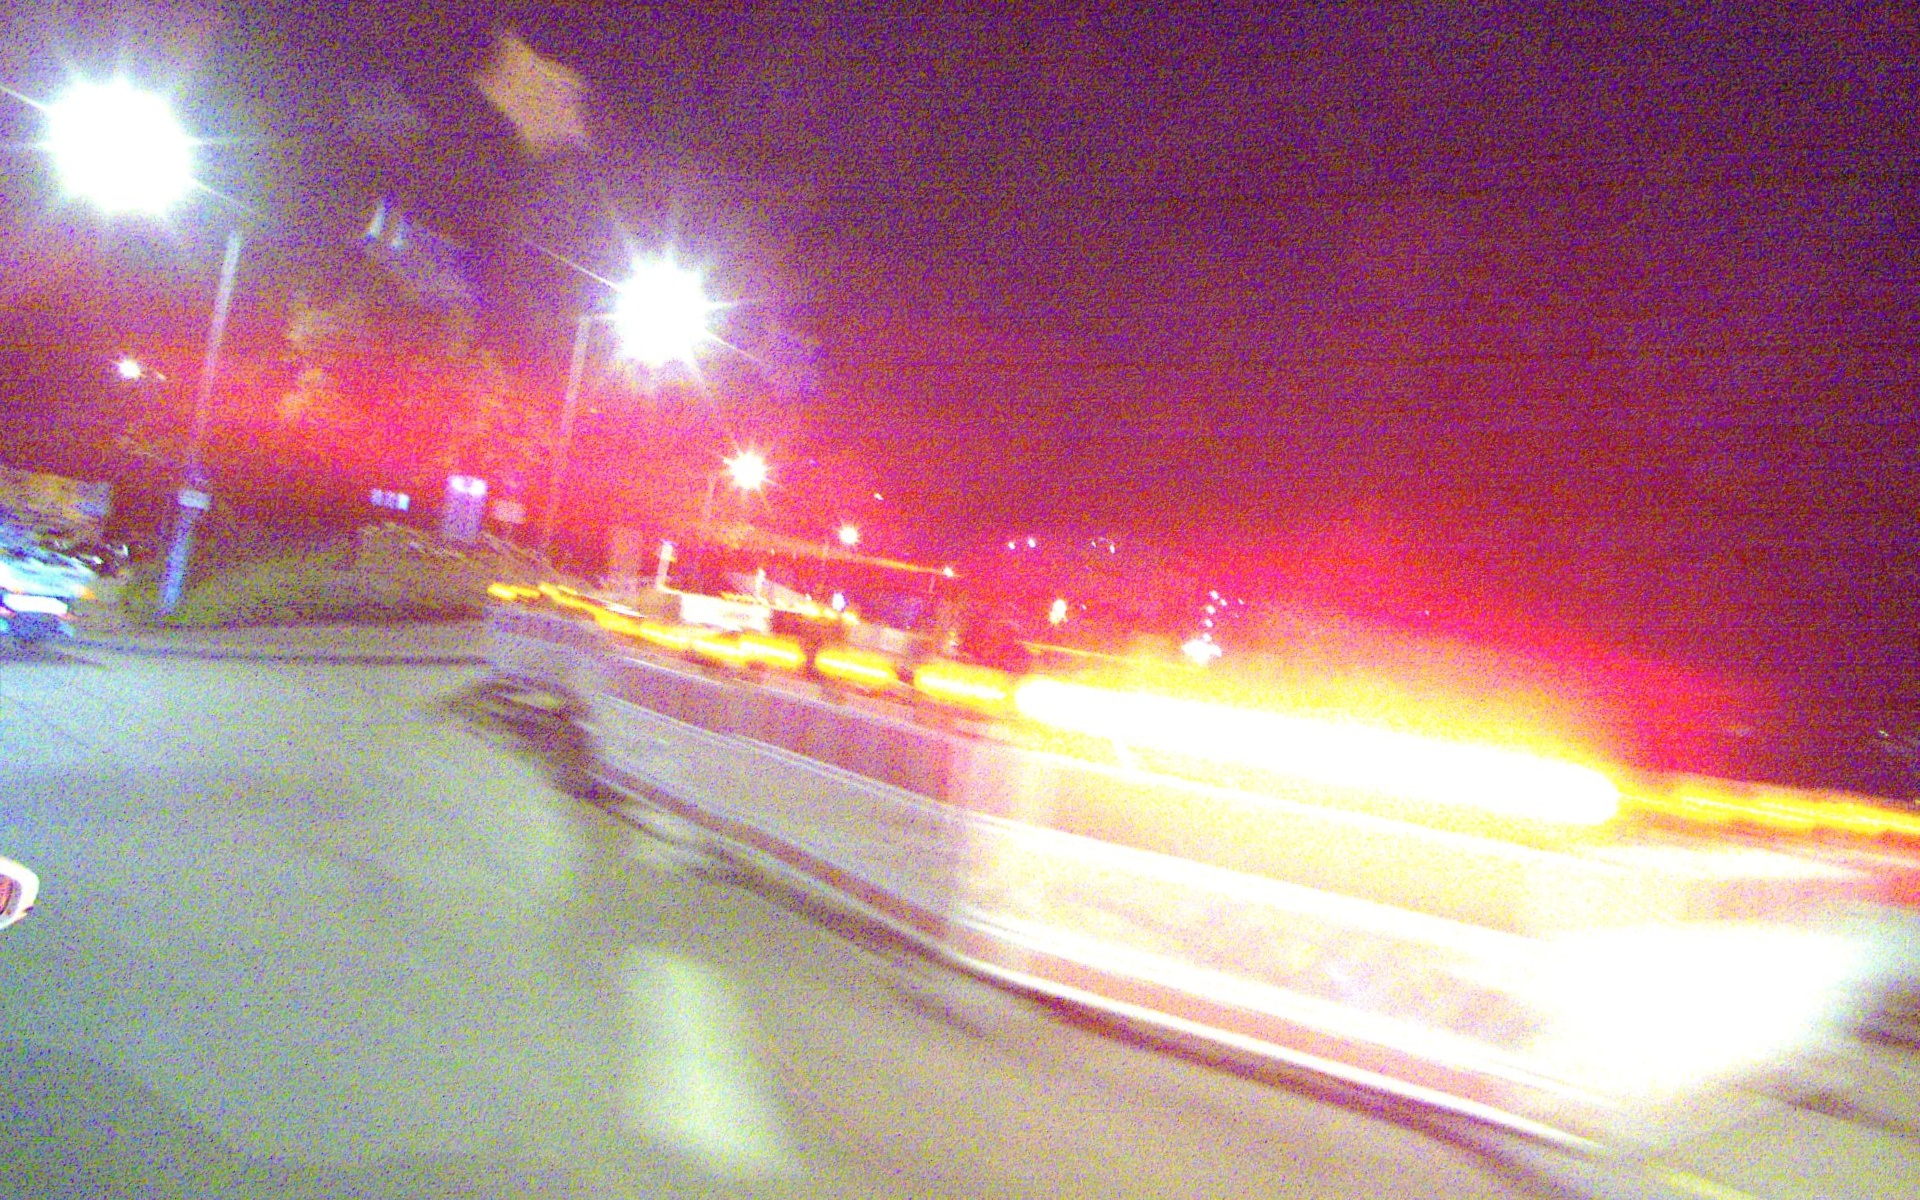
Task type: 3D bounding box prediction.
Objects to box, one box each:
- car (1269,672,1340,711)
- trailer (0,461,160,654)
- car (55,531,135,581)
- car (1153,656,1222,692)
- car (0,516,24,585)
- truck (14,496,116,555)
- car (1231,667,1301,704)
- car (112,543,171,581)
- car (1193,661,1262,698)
[{"bbox_3d":[17.721,4.713,51.672,1.972,1.436,3.985,7,-3,42],"label":"car"},{"bbox_3d":[-13.253,-0.721,13.246,5.124,2.185,1.566,7,-2,19],"label":"trailer"},{"bbox_3d":[-40.003,-1.994,46.636,1.709,1.839,3.975,11,-5,-28],"label":"car"},{"bbox_3d":[12.785,4.146,56.395,1.972,1.436,3.985,7,-3,42],"label":"car"},{"bbox_3d":[-28.426,-1.576,29.069,1.718,1.839,3.953,13,-6,-42],"label":"car"},{"bbox_3d":[-67.196,-5.469,75.764,1.974,3.439,8.946,11,-3,-19],"label":"truck"},{"bbox_3d":[16.314,4.574,53.560,1.972,1.436,3.985,7,-3,42],"label":"car"},{"bbox_3d":[-48.765,-2.241,60.010,1.709,1.839,3.975,11,-5,-28],"label":"car"},{"bbox_3d":[14.681,4.380,55.089,1.972,1.436,3.985,7,-3,42],"label":"car"}]
